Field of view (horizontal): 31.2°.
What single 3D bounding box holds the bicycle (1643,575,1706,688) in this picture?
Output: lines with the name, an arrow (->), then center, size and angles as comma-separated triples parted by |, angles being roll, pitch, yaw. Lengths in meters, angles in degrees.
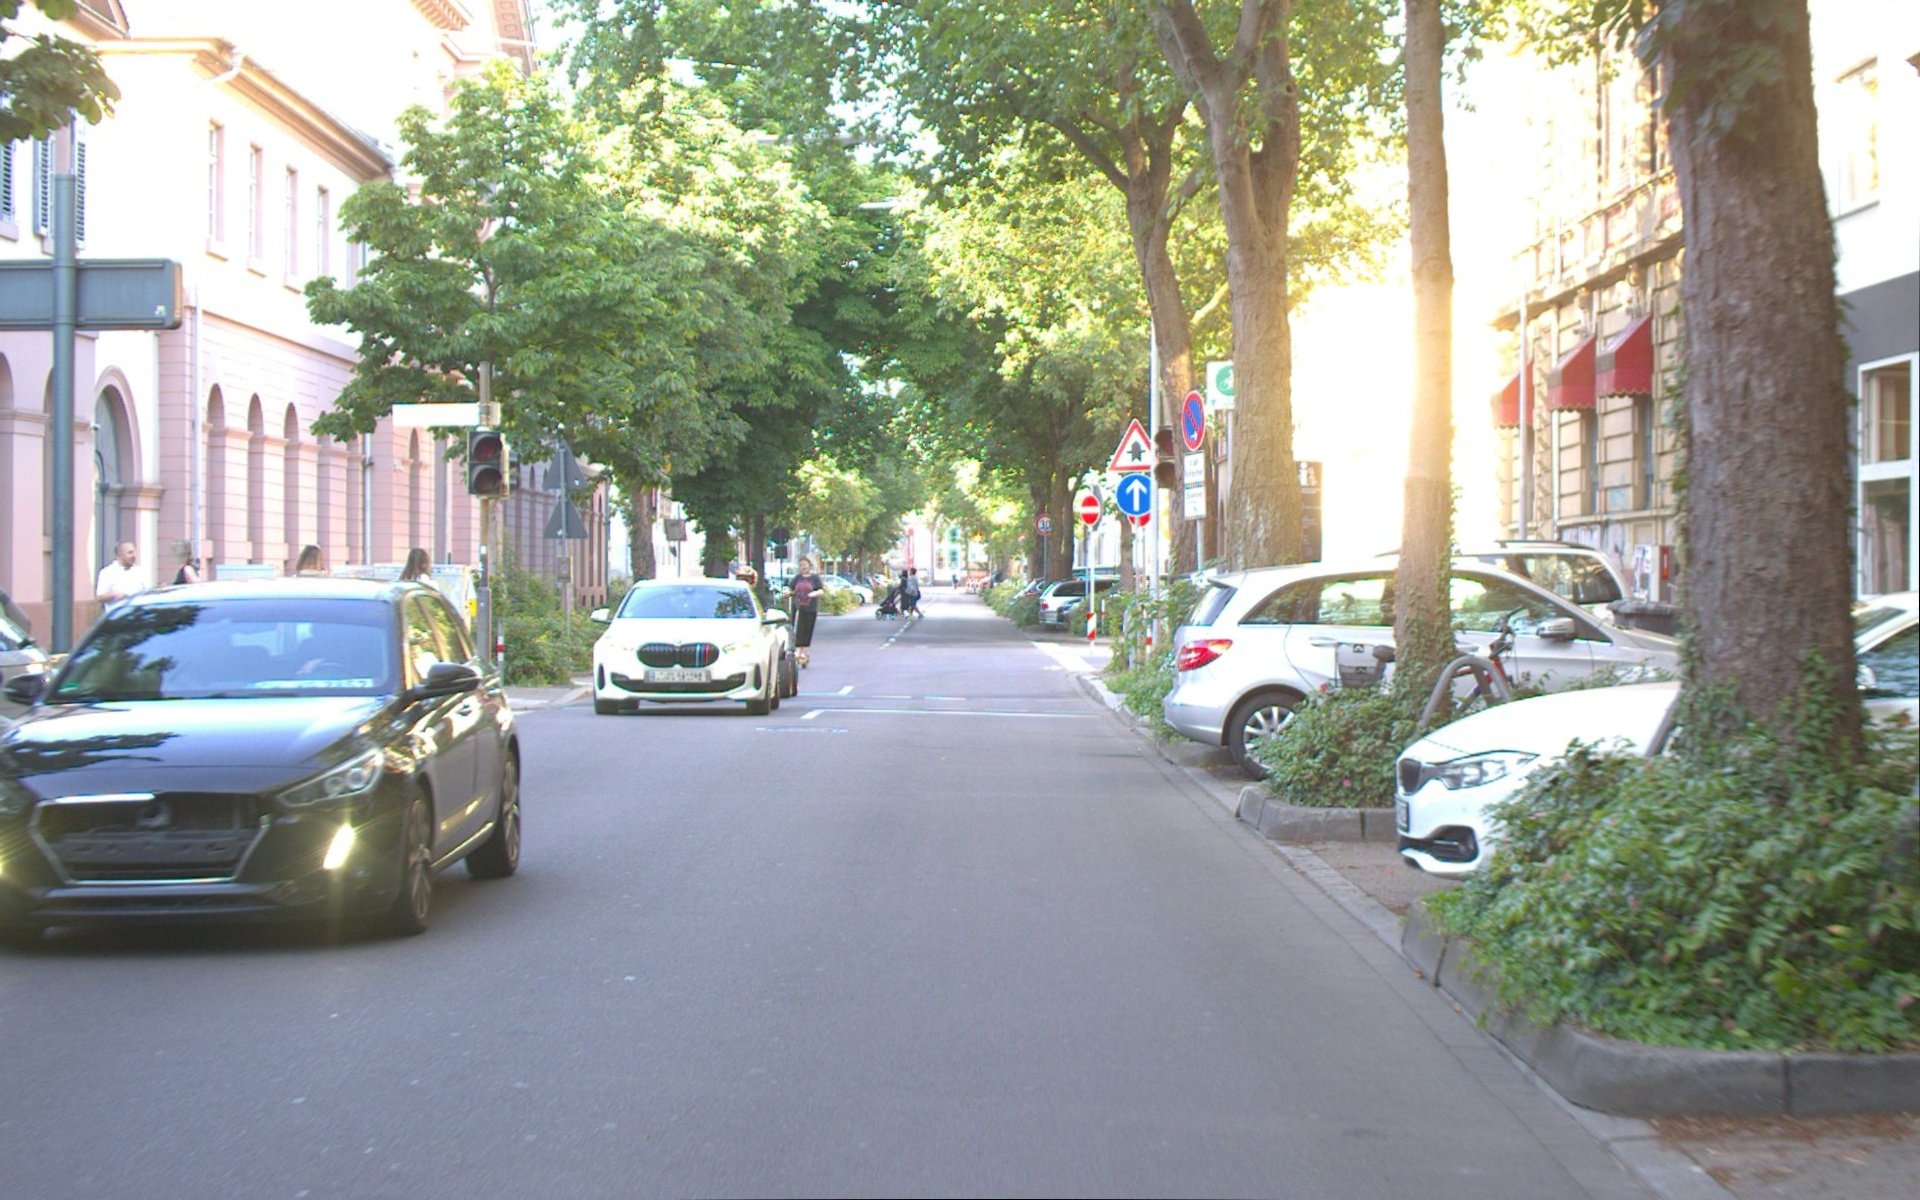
bicycle -> 7.796, 0.331, 37.536 | 0.385, 1.207, 1.725 | 0, 0, 2

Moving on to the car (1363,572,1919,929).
car -> 4.121, 0.600, 14.845 | 4.584, 1.432, 1.925 | 0, 1, 2

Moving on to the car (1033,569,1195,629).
car -> 4.076, -0.030, 91.322 | 4.192, 1.475, 1.852 | -1, 1, 0

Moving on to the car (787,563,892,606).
car -> -5.987, -0.779, 170.758 | 5.064, 2.076, 2.263 | 0, 1, 2

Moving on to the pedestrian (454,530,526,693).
pedestrian -> -5.489, 0.125, 40.142 | 0.768, 1.882, 0.793 | 0, 0, -12

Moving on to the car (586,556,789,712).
car -> -2.824, 0.314, 36.431 | 1.877, 1.543, 4.275 | 0, 1, -1

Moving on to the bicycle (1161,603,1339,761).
bicycle -> 2.269, 0.638, 26.971 | 1.337, 1.200, 0.488 | -1, 0, 0

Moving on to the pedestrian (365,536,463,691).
pedestrian -> -6.229, 0.155, 39.212 | 0.842, 1.732, 0.777 | 2, 0, -30

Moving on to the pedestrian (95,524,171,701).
pedestrian -> -8.677, 0.128, 36.078 | 0.554, 1.844, 0.611 | 0, 1, 15

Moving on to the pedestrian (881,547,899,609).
pedestrian -> -2.289, -0.701, 112.132 | 0.502, 2.007, 0.620 | 1, 0, 2

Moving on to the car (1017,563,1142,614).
car -> 3.888, -0.376, 112.383 | 4.014, 1.617, 1.781 | 0, 0, -1

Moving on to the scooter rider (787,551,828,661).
scooter rider -> -2.494, 0.103, 56.172 | 0.494, 1.785, 0.874 | 0, 0, 10

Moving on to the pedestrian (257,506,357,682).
pedestrian -> -6.836, -0.075, 36.011 | 0.790, 1.785, 0.771 | 3, 1, 3

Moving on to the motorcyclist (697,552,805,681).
motorcyclist -> -2.602, 0.199, 42.901 | 1.280, 1.586, 1.077 | 0, 0, 0

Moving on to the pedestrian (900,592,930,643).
pedestrian -> -1.464, 0.574, 112.258 | 0.875, 1.644, 0.655 | 1, 0, 8

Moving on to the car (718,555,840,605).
car -> -7.635, -0.862, 145.327 | 5.064, 2.076, 2.263 | 0, 1, 0

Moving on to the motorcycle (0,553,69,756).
motorcycle -> -7.587, 0.381, 24.668 | 2.150, 1.414, 0.967 | 0, 0, 22

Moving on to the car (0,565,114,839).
car -> -6.885, 0.485, 19.422 | 3.741, 1.453, 1.735 | 2, 1, -1

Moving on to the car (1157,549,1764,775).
car -> 3.564, 0.425, 25.128 | 4.225, 1.555, 1.970 | 0, 1, 3

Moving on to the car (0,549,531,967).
car -> -3.074, 0.568, 14.938 | 1.877, 1.543, 4.275 | 0, 1, 0

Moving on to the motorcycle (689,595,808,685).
motorcycle -> -2.613, 0.504, 42.829 | 1.312, 1.087, 2.396 | 0, -1, 0

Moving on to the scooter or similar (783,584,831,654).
scooter or similar -> -2.498, 0.308, 56.146 | 0.502, 1.141, 1.249 | 0, 0, 11

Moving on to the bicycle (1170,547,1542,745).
bicycle -> 3.435, 0.396, 29.929 | 3.113, 1.657, 0.658 | 1, 0, -4

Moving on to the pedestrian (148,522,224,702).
pedestrian -> -8.068, 0.117, 35.850 | 0.554, 1.844, 0.611 | 1, 2, 15

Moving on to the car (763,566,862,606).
car -> -7.777, -0.752, 181.654 | 5.064, 2.076, 2.263 | 0, 1, 1

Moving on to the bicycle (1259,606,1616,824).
bicycle -> 2.835, 0.667, 20.404 | 2.019, 1.200, 0.488 | -2, 0, -12

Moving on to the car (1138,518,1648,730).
car -> 4.057, 0.211, 32.735 | 4.540, 1.908, 1.950 | -1, 1, -2

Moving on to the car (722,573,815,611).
car -> -7.798, -0.338, 139.937 | 3.725, 1.503, 1.873 | 0, 1, -3

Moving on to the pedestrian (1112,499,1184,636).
pedestrian -> 2.993, -0.509, 54.891 | 1.043, 2.139, 1.063 | 1, 0, 1
